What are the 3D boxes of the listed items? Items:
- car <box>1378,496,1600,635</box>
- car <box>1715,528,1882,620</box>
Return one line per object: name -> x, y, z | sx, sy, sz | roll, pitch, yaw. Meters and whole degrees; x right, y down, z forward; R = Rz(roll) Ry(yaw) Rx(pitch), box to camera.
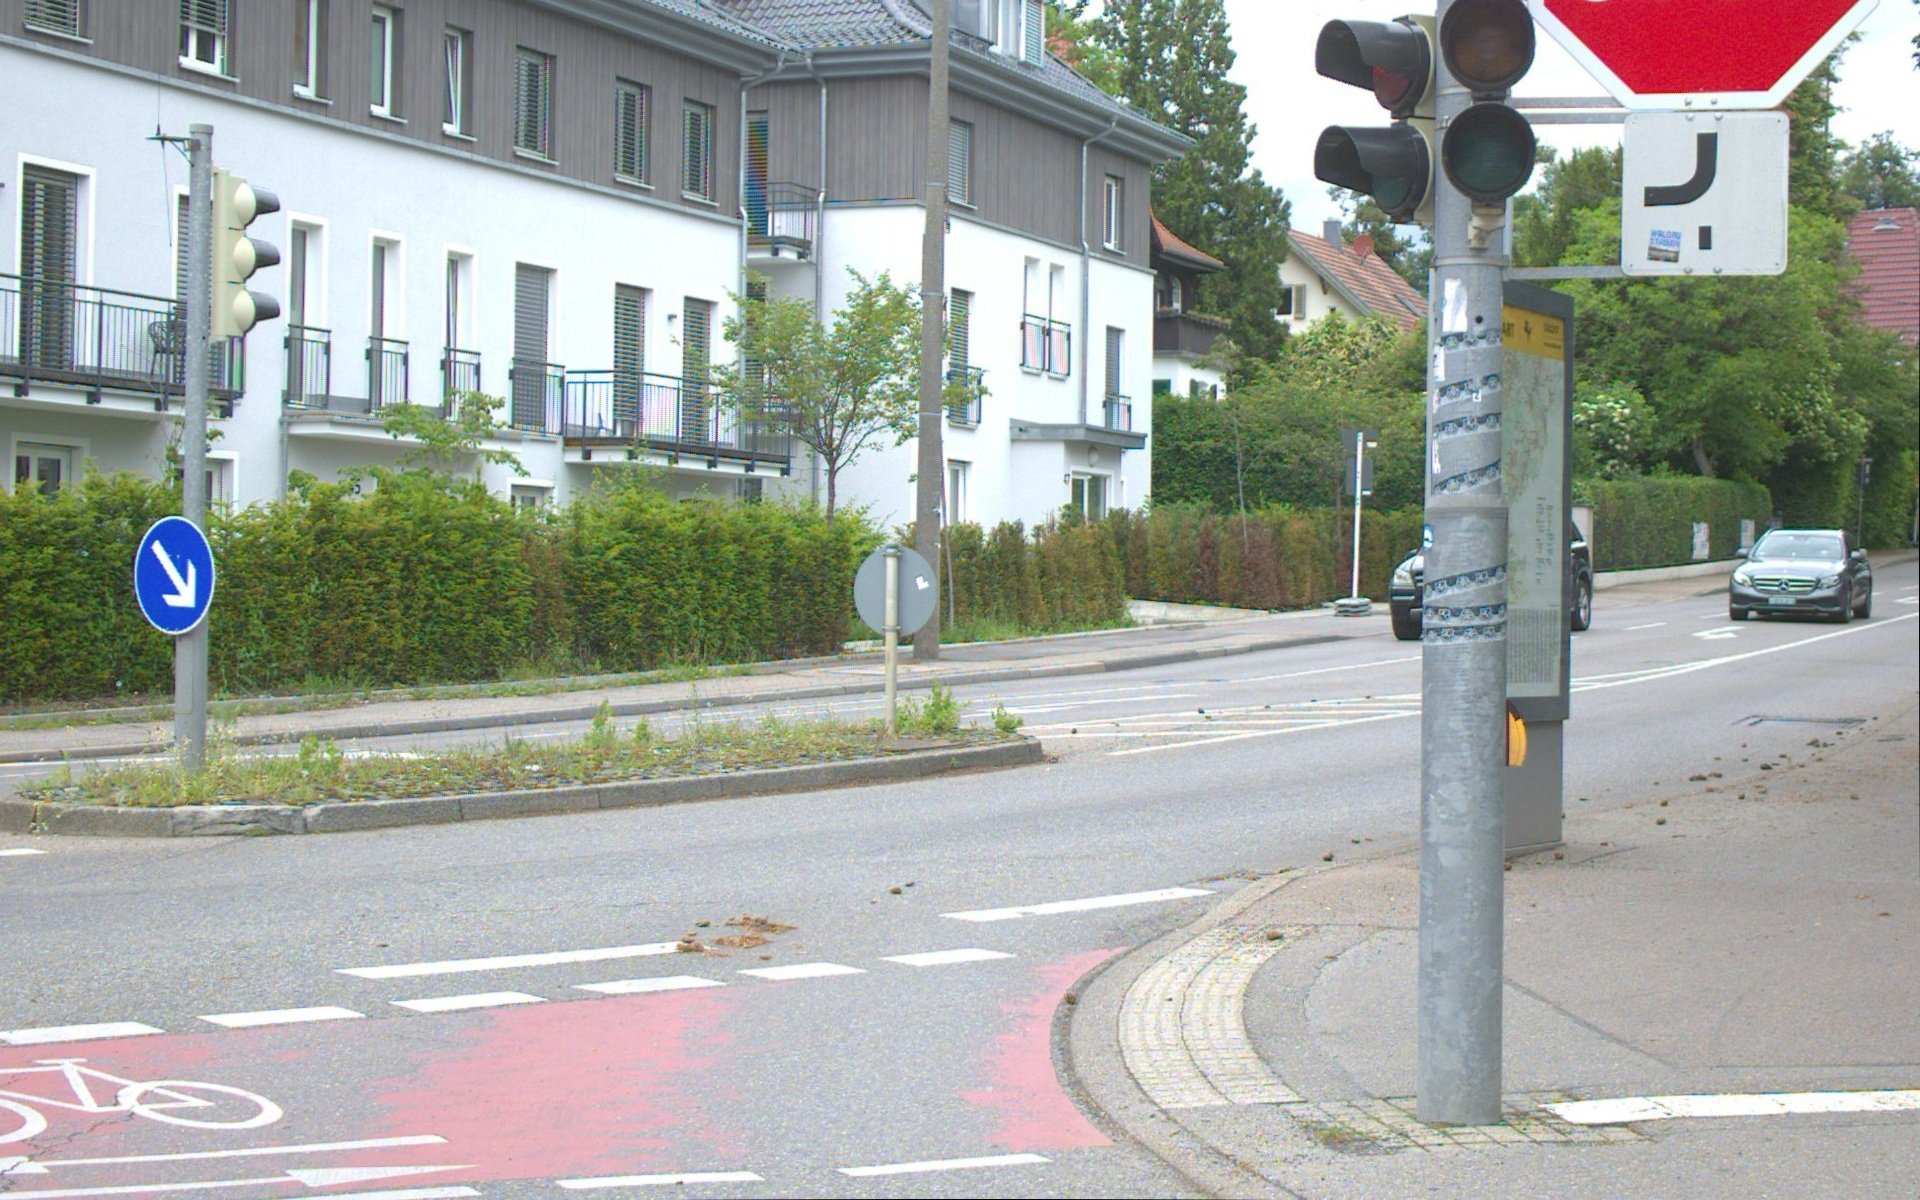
car -> 7.669, -0.494, 49.406 | 1.914, 1.874, 5.135 | -1, 0, 23
car -> 13.674, -0.457, 55.889 | 1.941, 1.399, 4.737 | 1, 2, 22
